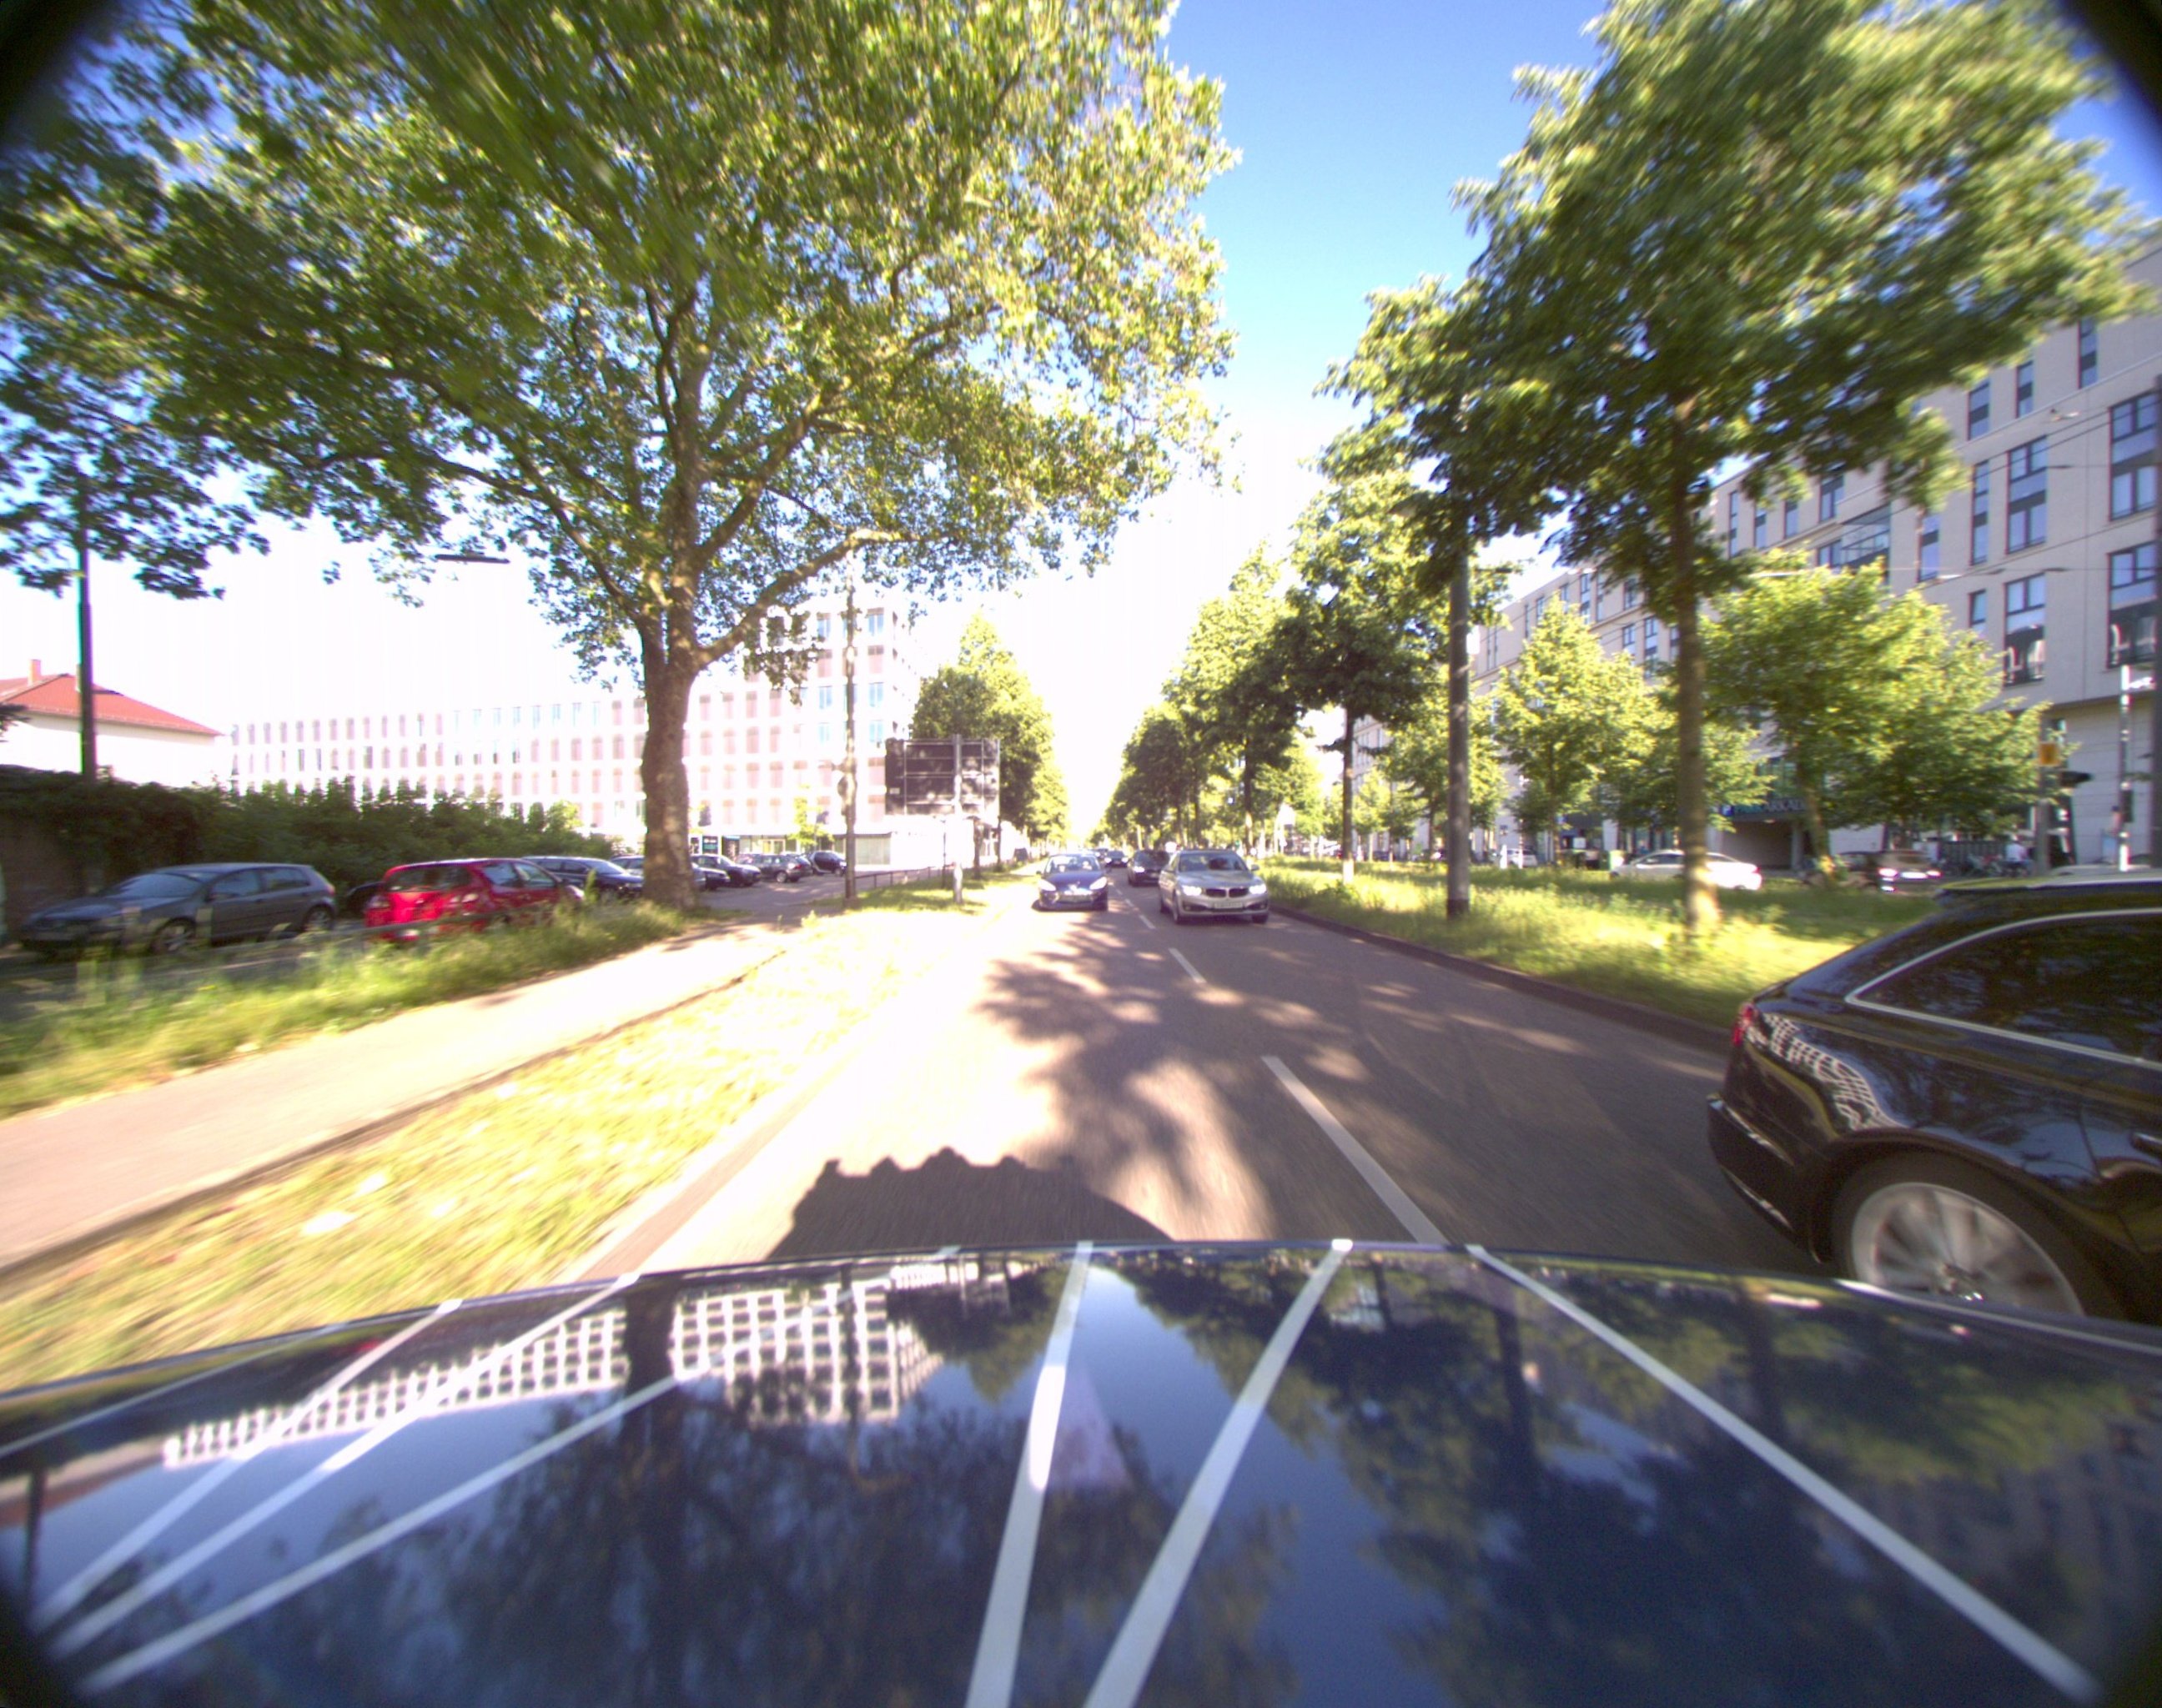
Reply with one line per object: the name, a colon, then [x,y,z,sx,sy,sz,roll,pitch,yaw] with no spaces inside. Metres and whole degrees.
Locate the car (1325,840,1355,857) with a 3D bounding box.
car: [31.845,-0.657,93.511,1.999,2.002,4.552,0,1,-2]

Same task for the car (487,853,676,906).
car: [-16.004,0.792,24.522,4.731,1.398,2.000,3,1,1]

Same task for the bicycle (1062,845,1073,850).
bicycle: [-2.501,-1.132,140.355,1.927,0.899,0.647,0,1,3]

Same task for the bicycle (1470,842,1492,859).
bicycle: [38.688,-0.356,73.590,0.619,1.537,3.034,-2,1,2]

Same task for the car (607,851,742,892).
car: [-16.183,0.690,30.437,4.340,1.469,1.906,2,0,-3]

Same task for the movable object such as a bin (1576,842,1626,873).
movable object such as a bin: [31.307,0.213,45.781,1.975,1.784,1.555,-2,2,-1]

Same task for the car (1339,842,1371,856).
car: [31.281,-0.602,86.827,1.999,1.563,3.998,0,1,-2]

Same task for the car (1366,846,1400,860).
car: [31.854,-0.100,80.314,1.728,1.405,4.335,0,1,-3]

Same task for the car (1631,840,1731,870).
car: [31.479,0.022,40.026,1.999,1.433,4.018,-2,1,-2]

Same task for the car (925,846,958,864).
car: [-13.346,0.062,72.909,1.998,1.477,4.402,2,1,3]

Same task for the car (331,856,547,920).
car: [-16.599,0.846,19.808,3.998,1.496,1.765,-1,1,-2]

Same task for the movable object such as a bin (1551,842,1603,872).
movable object such as a bin: [31.195,0.174,47.837,1.975,1.784,2.009,-2,1,-2]

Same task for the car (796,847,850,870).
car: [-18.175,0.332,53.682,1.594,1.536,3.825,1,0,20]

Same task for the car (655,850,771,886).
car: [-16.109,0.590,33.398,4.202,1.490,1.781,0,1,-2]

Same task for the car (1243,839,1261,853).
car: [26.001,-1.209,115.873,1.998,2.002,4.000,-2,1,3]

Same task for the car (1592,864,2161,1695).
car: [2.957,0.777,0.333,1.958,1.472,5.084,-1,0,-1]

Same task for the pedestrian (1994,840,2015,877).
pedestrian: [39.587,0.190,32.589,0.501,1.540,0.523,0,2,42]

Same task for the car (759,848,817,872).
car: [-20.845,0.409,54.207,1.748,1.527,3.886,-2,1,19]

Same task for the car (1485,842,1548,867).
car: [31.896,0.007,55.840,1.999,1.719,4.337,-2,1,-2]

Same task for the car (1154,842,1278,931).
car: [2.714,0.571,16.223,1.886,1.569,4.277,-2,1,1]

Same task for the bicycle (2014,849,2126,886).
bicycle: [37.989,0.475,29.268,0.949,1.273,2.772,-2,1,8]

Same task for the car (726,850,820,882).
car: [-15.671,0.597,38.768,4.089,1.460,1.715,1,2,1]

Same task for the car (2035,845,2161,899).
car: [31.673,0.507,21.942,1.999,1.433,4.923,-2,1,-2]

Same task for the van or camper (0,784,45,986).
van or camper: [-15.417,0.426,8.124,1.999,2.716,4.962,2,1,-2]

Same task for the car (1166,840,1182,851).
car: [21.901,-1.984,178.552,2.513,2.368,6.025,-1,1,-5]

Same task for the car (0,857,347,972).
car: [-15.730,0.930,13.374,2.000,1.565,3.996,2,1,-7]

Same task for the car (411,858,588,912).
car: [-16.883,0.875,22.178,3.996,1.384,1.620,1,1,3]

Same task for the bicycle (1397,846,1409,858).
bicycle: [38.975,-0.270,91.898,0.663,1.317,2.336,-2,1,7]

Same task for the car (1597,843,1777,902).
car: [20.104,0.537,25.577,1.998,1.676,5.109,-2,1,0]

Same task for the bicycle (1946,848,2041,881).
bicycle: [38.692,0.422,32.301,0.949,1.273,2.772,-2,1,8]

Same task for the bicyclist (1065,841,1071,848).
bicyclist: [-2.447,-1.708,140.341,1.086,1.315,0.639,0,1,3]

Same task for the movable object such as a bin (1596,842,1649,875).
movable object such as a bin: [31.327,0.249,43.979,1.975,1.784,1.555,-2,2,-1]

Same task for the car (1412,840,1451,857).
car: [31.333,-0.509,68.061,1.562,1.471,4.270,-1,1,0]

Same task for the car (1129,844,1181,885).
car: [3.049,0.387,32.068,1.950,1.514,4.000,-2,1,3]

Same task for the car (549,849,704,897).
car: [-16.358,0.658,27.481,4.390,1.403,2.000,4,1,3]

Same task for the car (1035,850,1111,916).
car: [-0.130,0.683,20.182,1.766,1.463,3.999,-2,1,2]

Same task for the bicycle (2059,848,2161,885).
bicycle: [39.043,0.449,28.687,0.949,1.273,2.772,-2,1,8]

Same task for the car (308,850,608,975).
car: [-9.995,0.814,12.711,2.000,1.630,3.996,-2,1,-8]

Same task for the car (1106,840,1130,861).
car: [2.966,-0.294,62.171,1.782,1.571,3.783,-2,1,1]

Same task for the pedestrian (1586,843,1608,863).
pedestrian: [40.640,-0.090,59.842,0.949,1.459,1.026,-2,2,-8]

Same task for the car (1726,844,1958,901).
car: [22.696,0.465,23.048,1.998,1.433,5.110,-2,1,1]

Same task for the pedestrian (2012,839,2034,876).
pedestrian: [40.390,0.161,32.578,0.501,1.540,0.523,0,2,42]

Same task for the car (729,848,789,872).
car: [-23.138,0.399,54.698,1.719,1.531,3.955,-2,1,19]

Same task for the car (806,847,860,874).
car: [-15.157,0.398,46.424,2.771,1.541,1.463,1,2,10]
